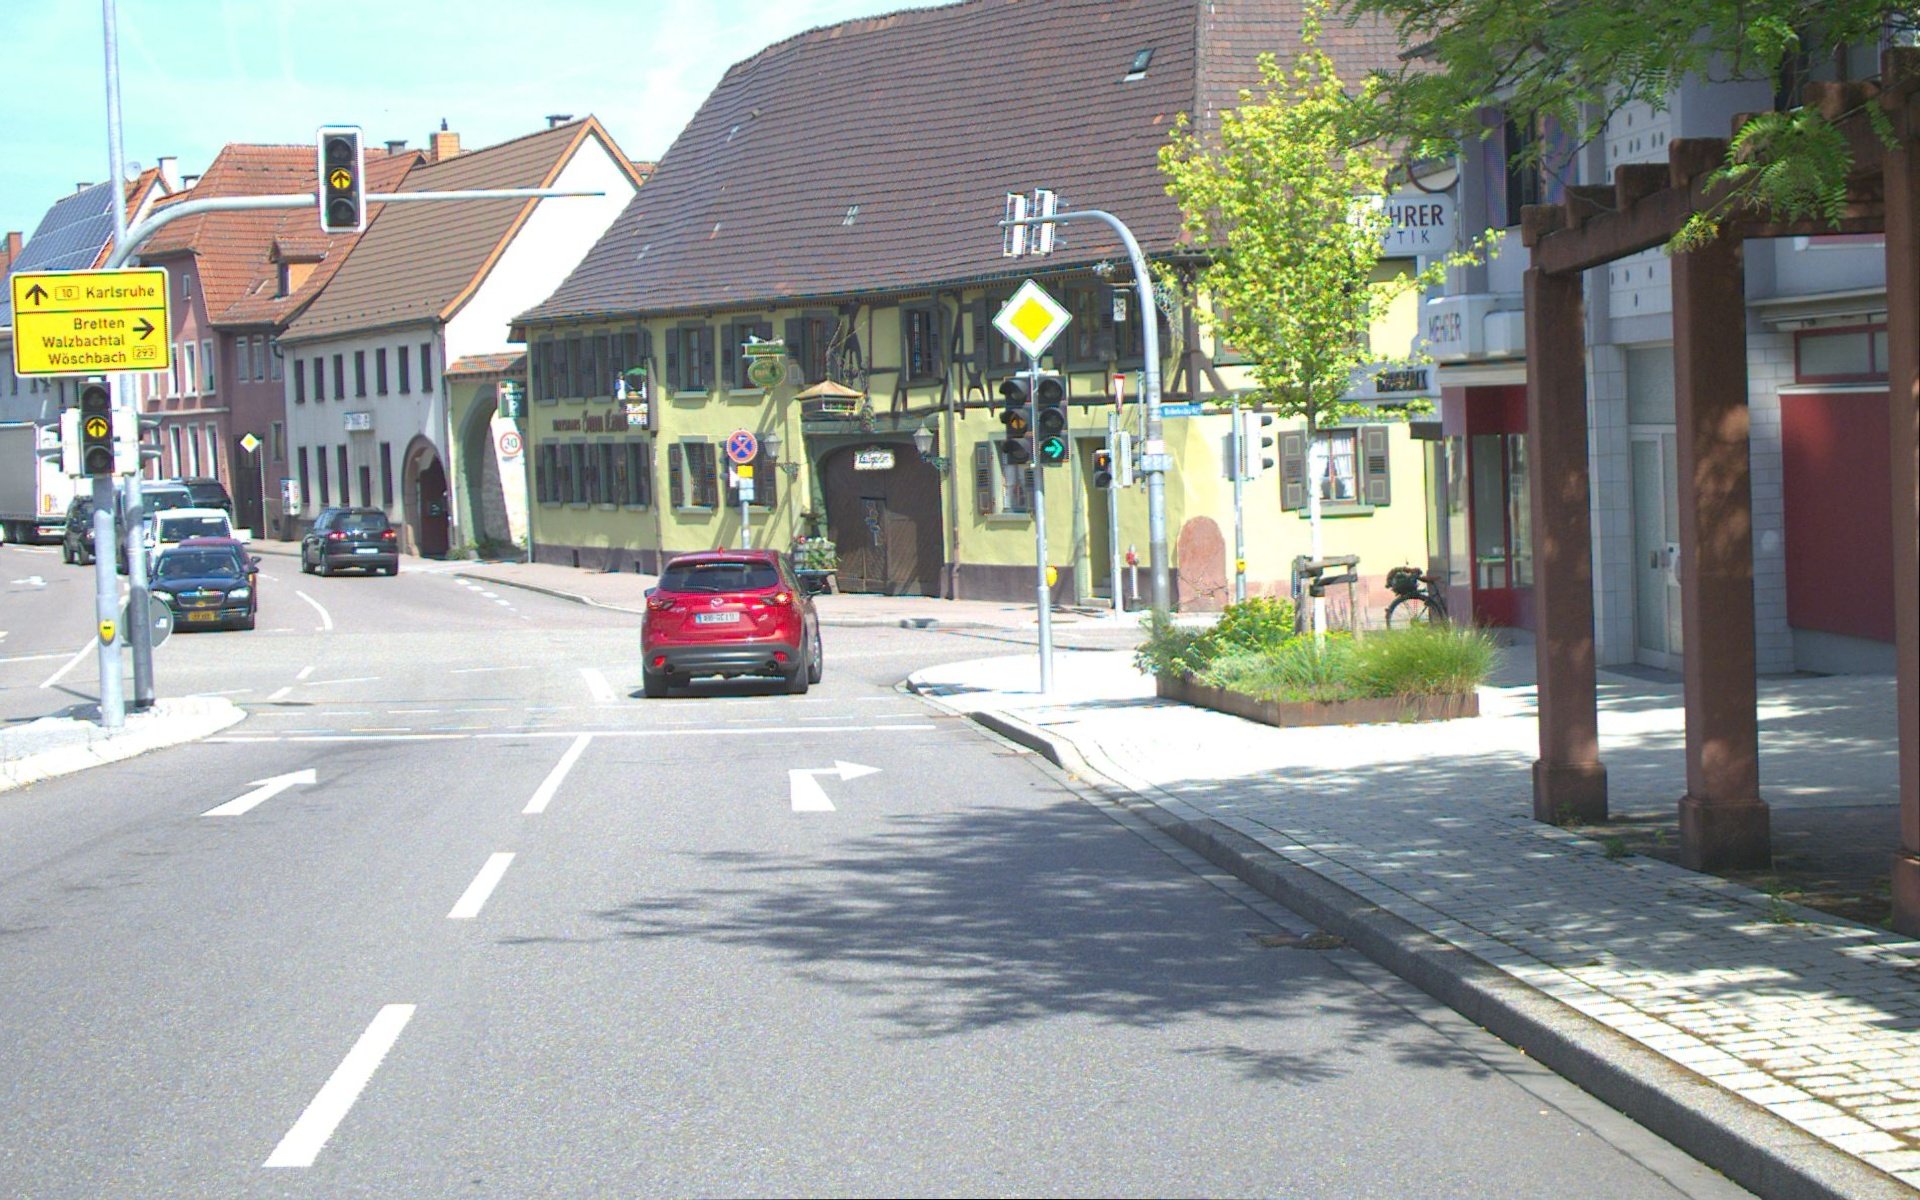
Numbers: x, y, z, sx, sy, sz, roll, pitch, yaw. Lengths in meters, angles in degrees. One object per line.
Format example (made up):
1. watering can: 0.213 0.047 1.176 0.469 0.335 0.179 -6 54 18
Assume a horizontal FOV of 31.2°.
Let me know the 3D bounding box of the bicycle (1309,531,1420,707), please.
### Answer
1. bicycle: 3.176 0.121 27.157 0.529 1.275 1.992 -5 2 0

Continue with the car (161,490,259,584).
1. car: -16.781 -1.444 76.779 1.820 1.899 4.966 -2 3 -15

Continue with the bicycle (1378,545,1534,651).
1. bicycle: 6.131 -0.029 42.517 1.803 1.230 0.549 -2 2 -4

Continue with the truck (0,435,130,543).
1. truck: -31.187 -3.800 117.773 3.223 3.537 9.232 0 2 -28

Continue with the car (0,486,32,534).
1. car: -32.271 -2.962 114.057 1.786 1.521 4.005 -4 3 -31

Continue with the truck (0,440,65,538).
1. truck: -35.736 -4.069 126.679 3.159 3.448 10.714 0 1 -27

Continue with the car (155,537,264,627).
1. car: -13.669 -0.358 62.507 1.820 1.429 4.250 -2 3 -13

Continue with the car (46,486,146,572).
1. car: -23.238 -1.939 92.379 1.757 2.238 4.554 0 2 -25

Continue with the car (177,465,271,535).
1. car: -21.691 -2.946 101.194 1.846 2.006 4.001 0 2 -25

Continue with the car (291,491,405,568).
1. car: -14.939 -1.735 83.753 1.820 1.732 4.006 -3 3 -23

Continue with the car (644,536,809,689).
1. car: -2.702 0.099 39.858 1.804 1.657 3.813 0 1 -4
